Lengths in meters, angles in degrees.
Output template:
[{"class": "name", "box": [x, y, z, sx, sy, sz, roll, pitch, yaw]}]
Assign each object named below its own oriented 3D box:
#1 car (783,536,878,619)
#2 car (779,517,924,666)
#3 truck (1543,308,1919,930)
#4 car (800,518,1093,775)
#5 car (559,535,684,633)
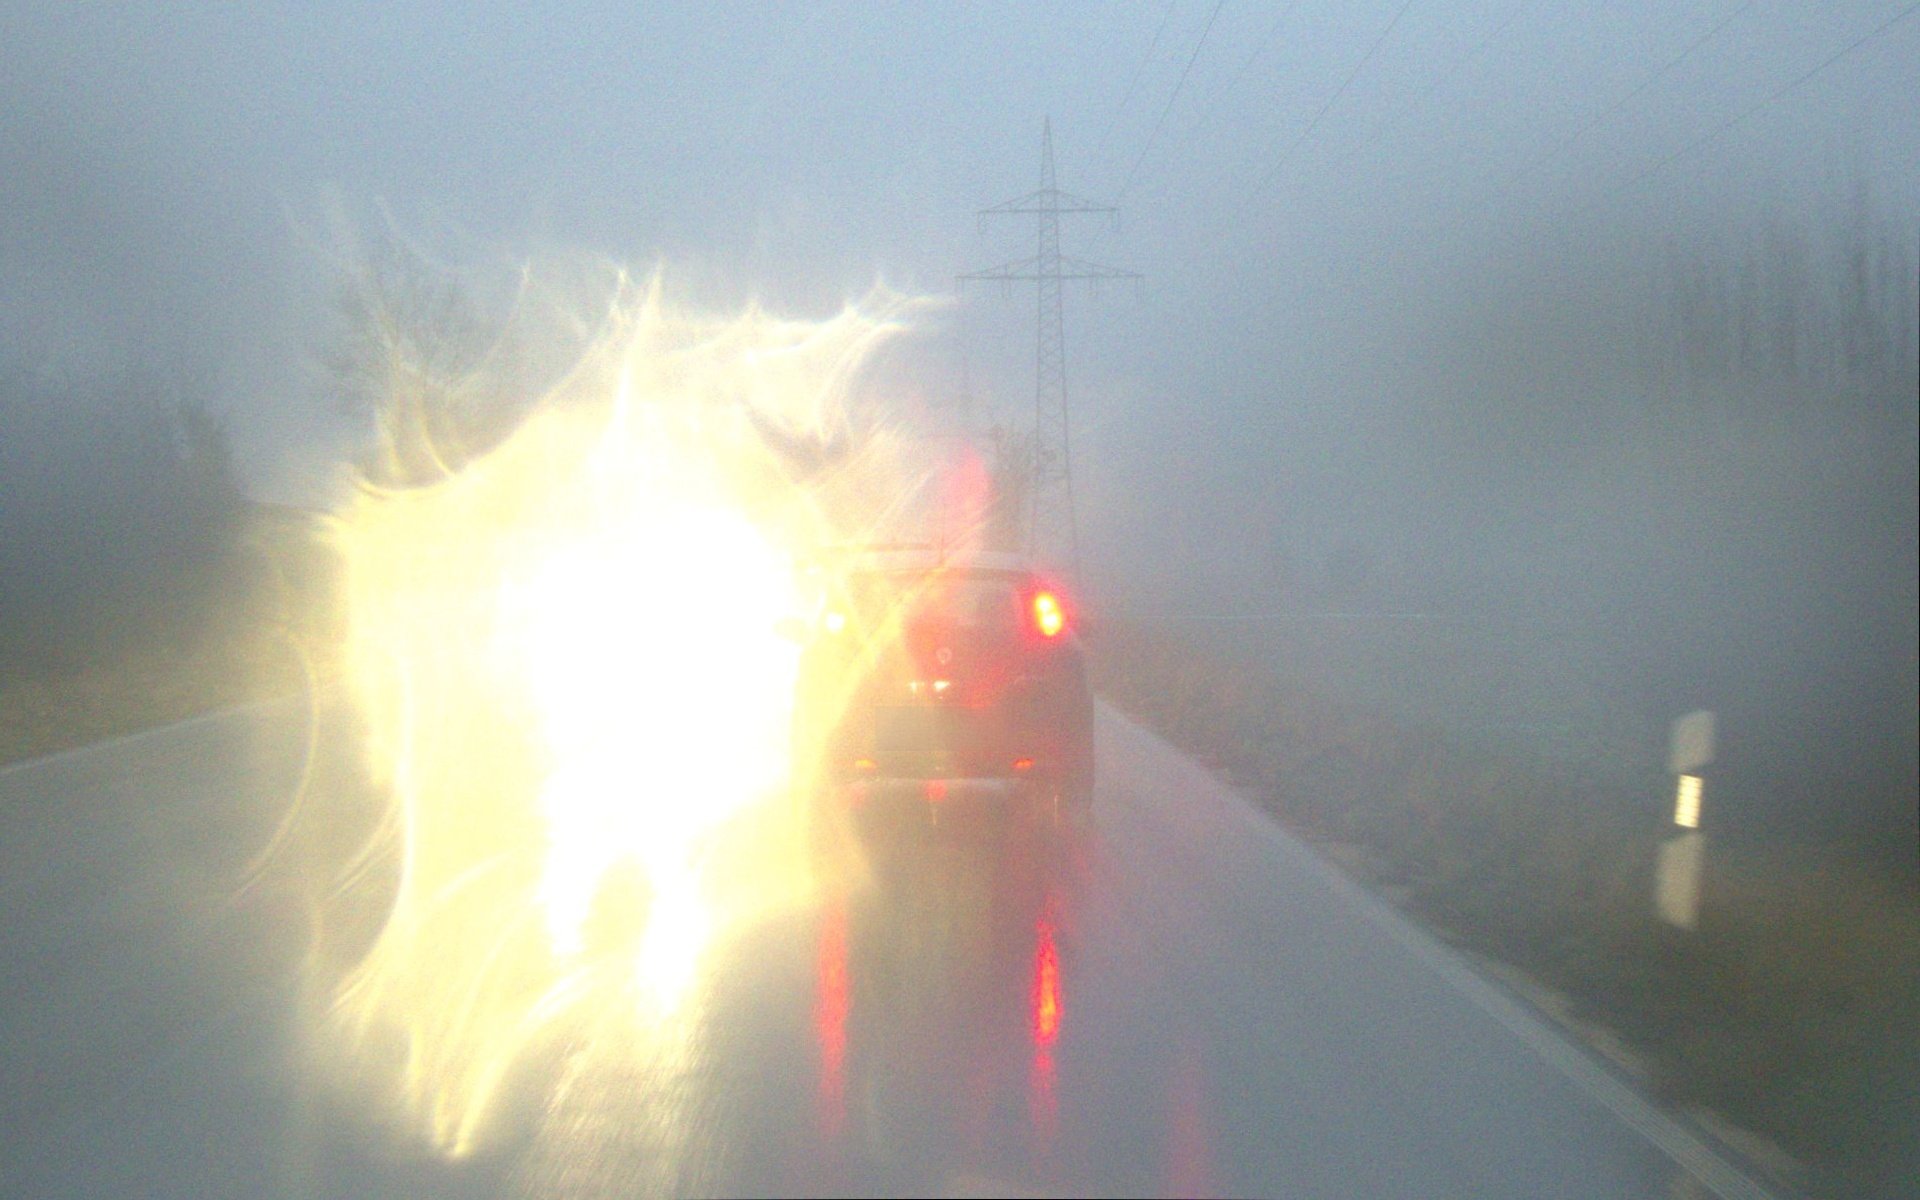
[{"class": "car", "box": [-2.617, -0.471, 68.676, 1.769, 1.585, 4.165, 0, 1, -4]}, {"class": "car", "box": [-1.571, -0.141, 48.478, 1.852, 2.007, 4.001, 0, 1, -4]}, {"class": "truck", "box": [5.516, 0.049, 20.360, 2.533, 2.968, 7.858, 0, 1, -2]}, {"class": "car", "box": [-0.147, 0.234, 20.299, 1.500, 1.393, 3.200, 0, 1, -4]}, {"class": "car", "box": [-5.730, -0.300, 58.574, 1.769, 1.585, 4.164, 0, 1, -1]}]
